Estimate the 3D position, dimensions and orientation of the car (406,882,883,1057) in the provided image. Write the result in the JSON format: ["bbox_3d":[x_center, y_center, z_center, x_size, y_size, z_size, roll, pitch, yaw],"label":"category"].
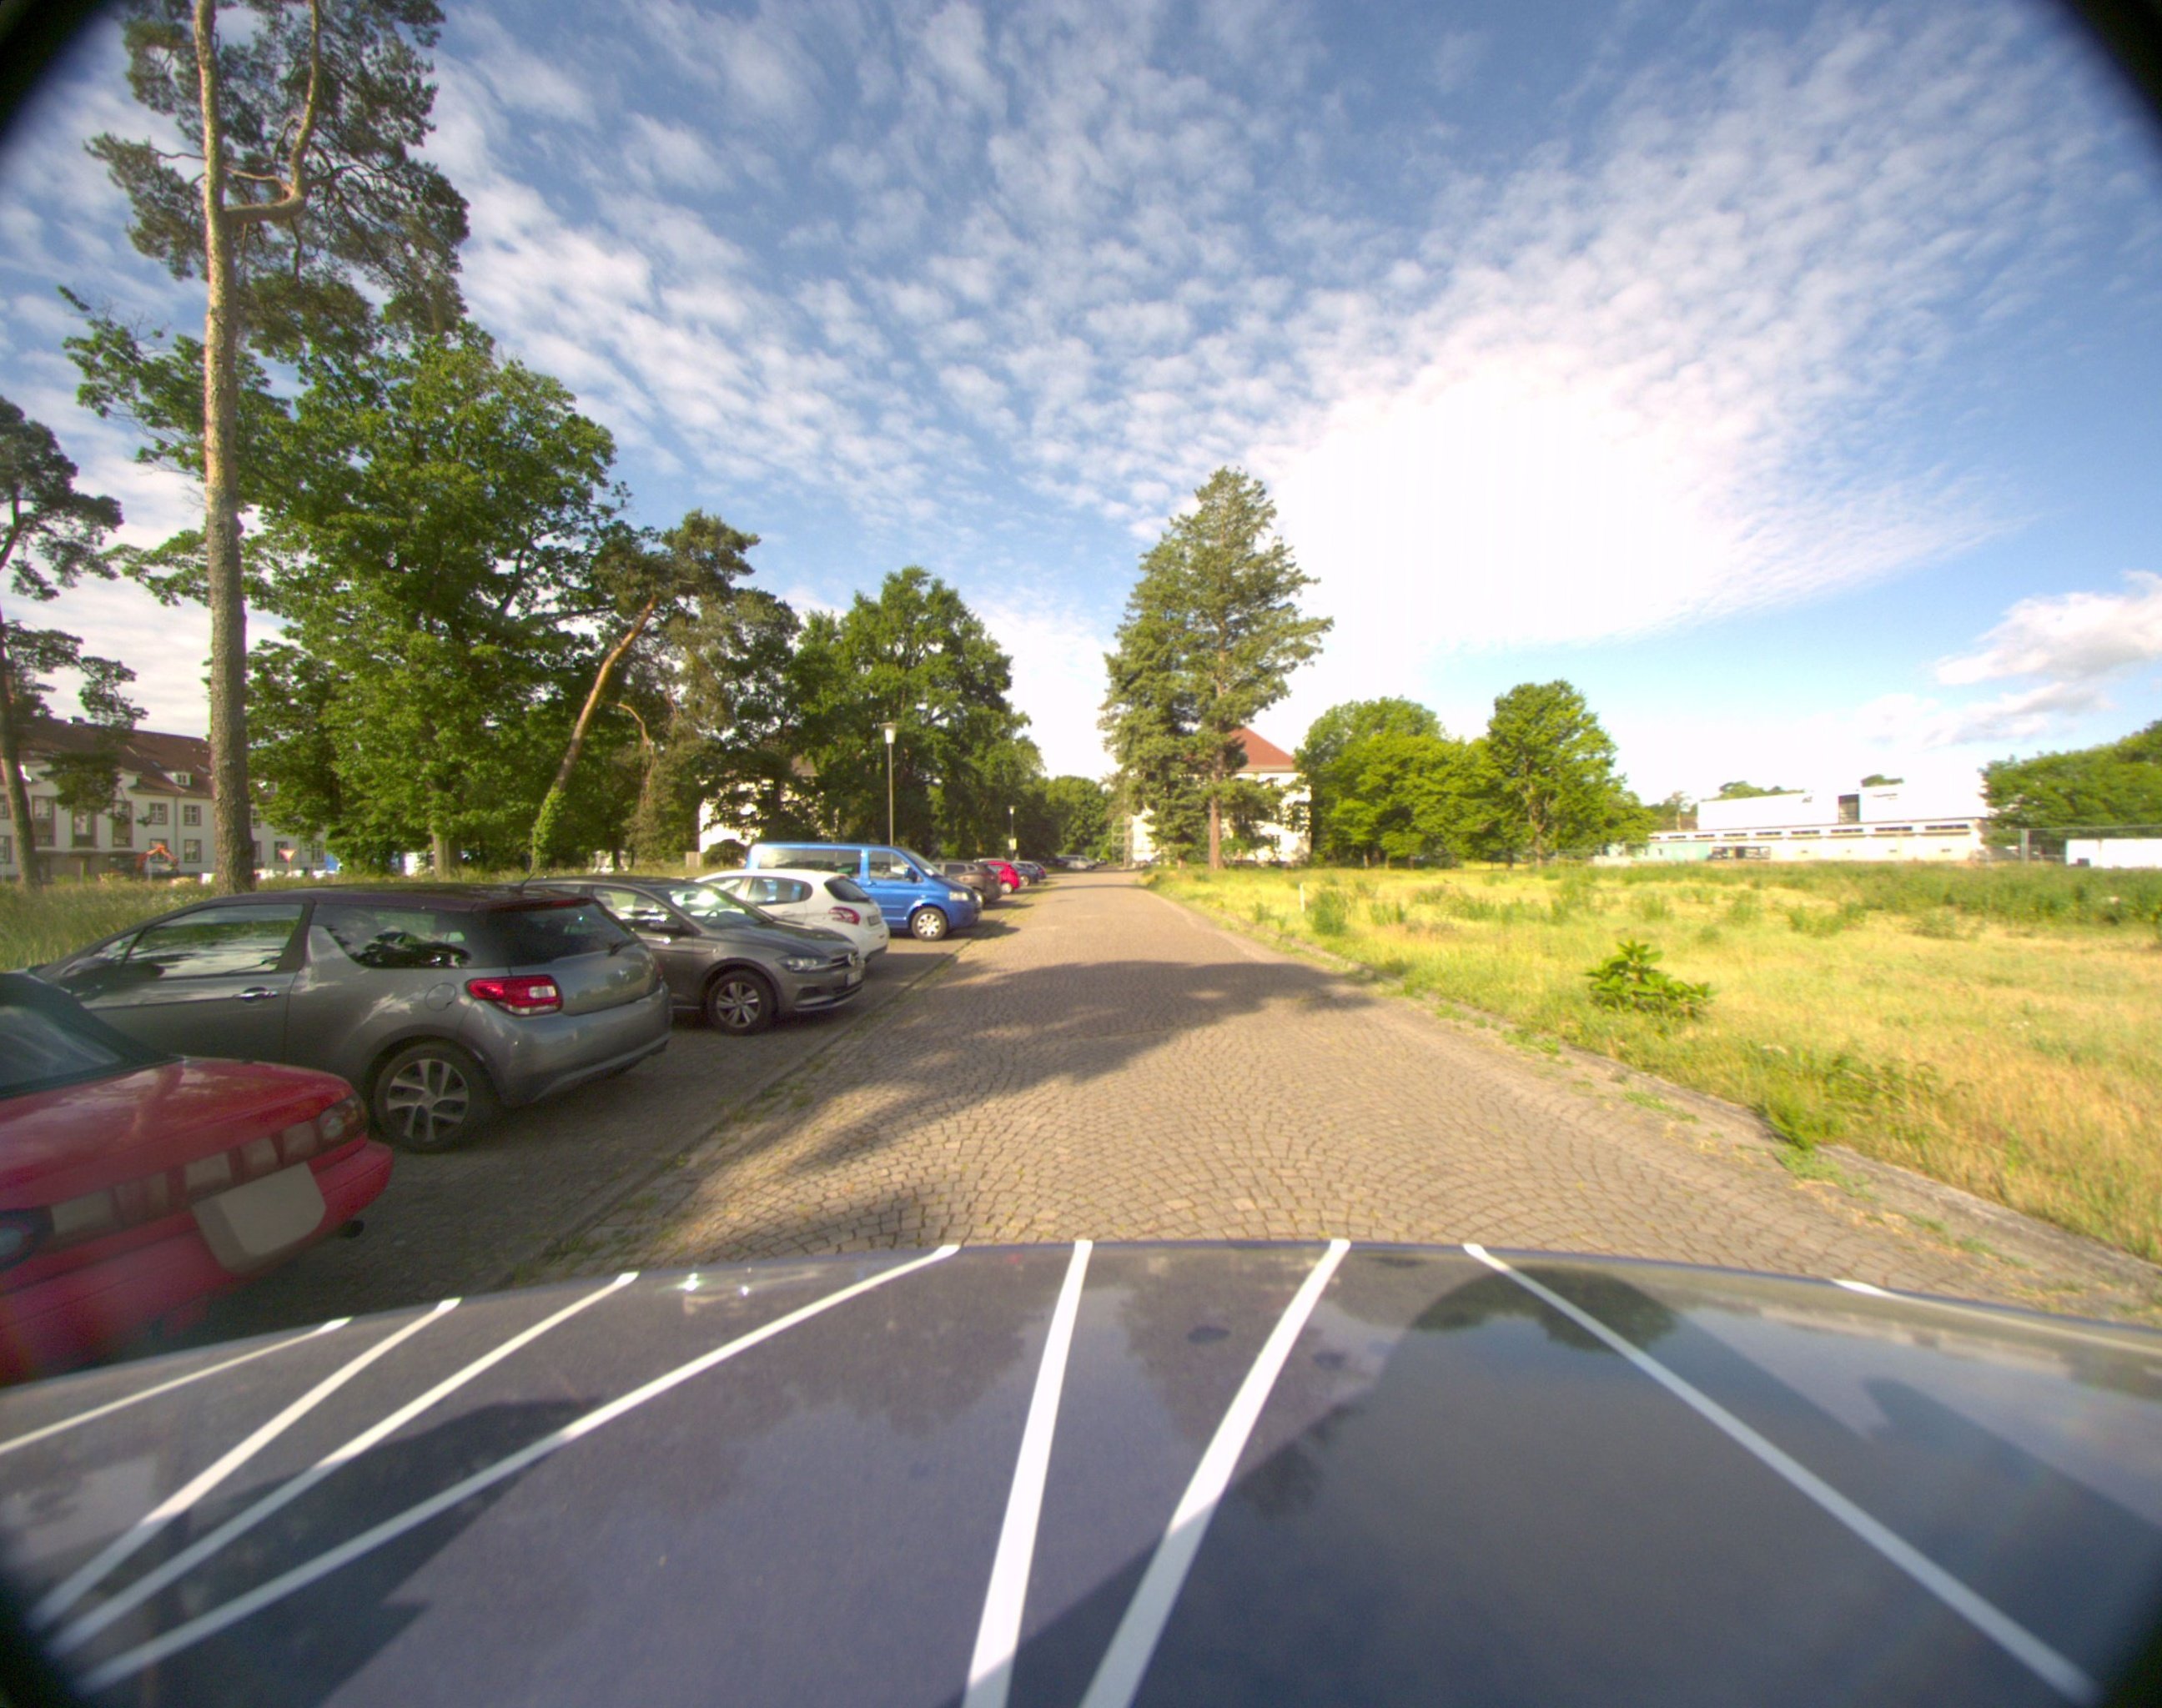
[{"bbox_3d":[-4.117,1.054,7.655,3.716,1.440,1.856,1,0,1],"label":"car"}]

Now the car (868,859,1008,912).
[{"bbox_3d":[-4.569,0.994,24.824,4.237,1.588,1.934,0,1,-2],"label":"car"}]

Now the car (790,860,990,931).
[{"bbox_3d":[-4.550,0.969,18.599,4.408,1.568,1.939,1,0,0],"label":"car"}]

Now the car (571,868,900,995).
[{"bbox_3d":[-4.597,0.995,10.507,3.716,1.525,1.761,1,0,1],"label":"car"}]

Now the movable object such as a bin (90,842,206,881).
[{"bbox_3d":[-88.920,0.674,72.623,6.460,3.282,2.859,-4,1,-43],"label":"movable object such as a bin"}]

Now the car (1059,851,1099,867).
[{"bbox_3d":[-0.275,0.624,98.779,4.933,2.002,1.999,1,1,-6],"label":"car"}]

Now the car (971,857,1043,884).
[{"bbox_3d":[-4.371,0.960,45.448,4.098,1.548,1.853,1,0,-1],"label":"car"}]

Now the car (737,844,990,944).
[{"bbox_3d":[-4.412,0.796,15.979,4.710,1.924,2.000,1,0,0],"label":"car"}]

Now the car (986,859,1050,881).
[{"bbox_3d":[-4.127,1.043,50.135,4.098,1.414,1.784,1,0,-1],"label":"car"}]

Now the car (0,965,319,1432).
[{"bbox_3d":[-4.996,1.050,2.260,3.716,1.216,1.746,1,0,1],"label":"car"}]

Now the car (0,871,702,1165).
[{"bbox_3d":[-4.731,0.866,4.824,3.716,1.440,1.816,1,0,0],"label":"car"}]

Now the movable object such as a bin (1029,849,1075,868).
[{"bbox_3d":[-3.263,0.553,85.946,4.865,2.002,2.002,-1,0,13],"label":"movable object such as a bin"}]

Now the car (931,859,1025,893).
[{"bbox_3d":[-4.702,1.006,35.223,4.098,1.451,1.853,1,0,-1],"label":"car"}]
